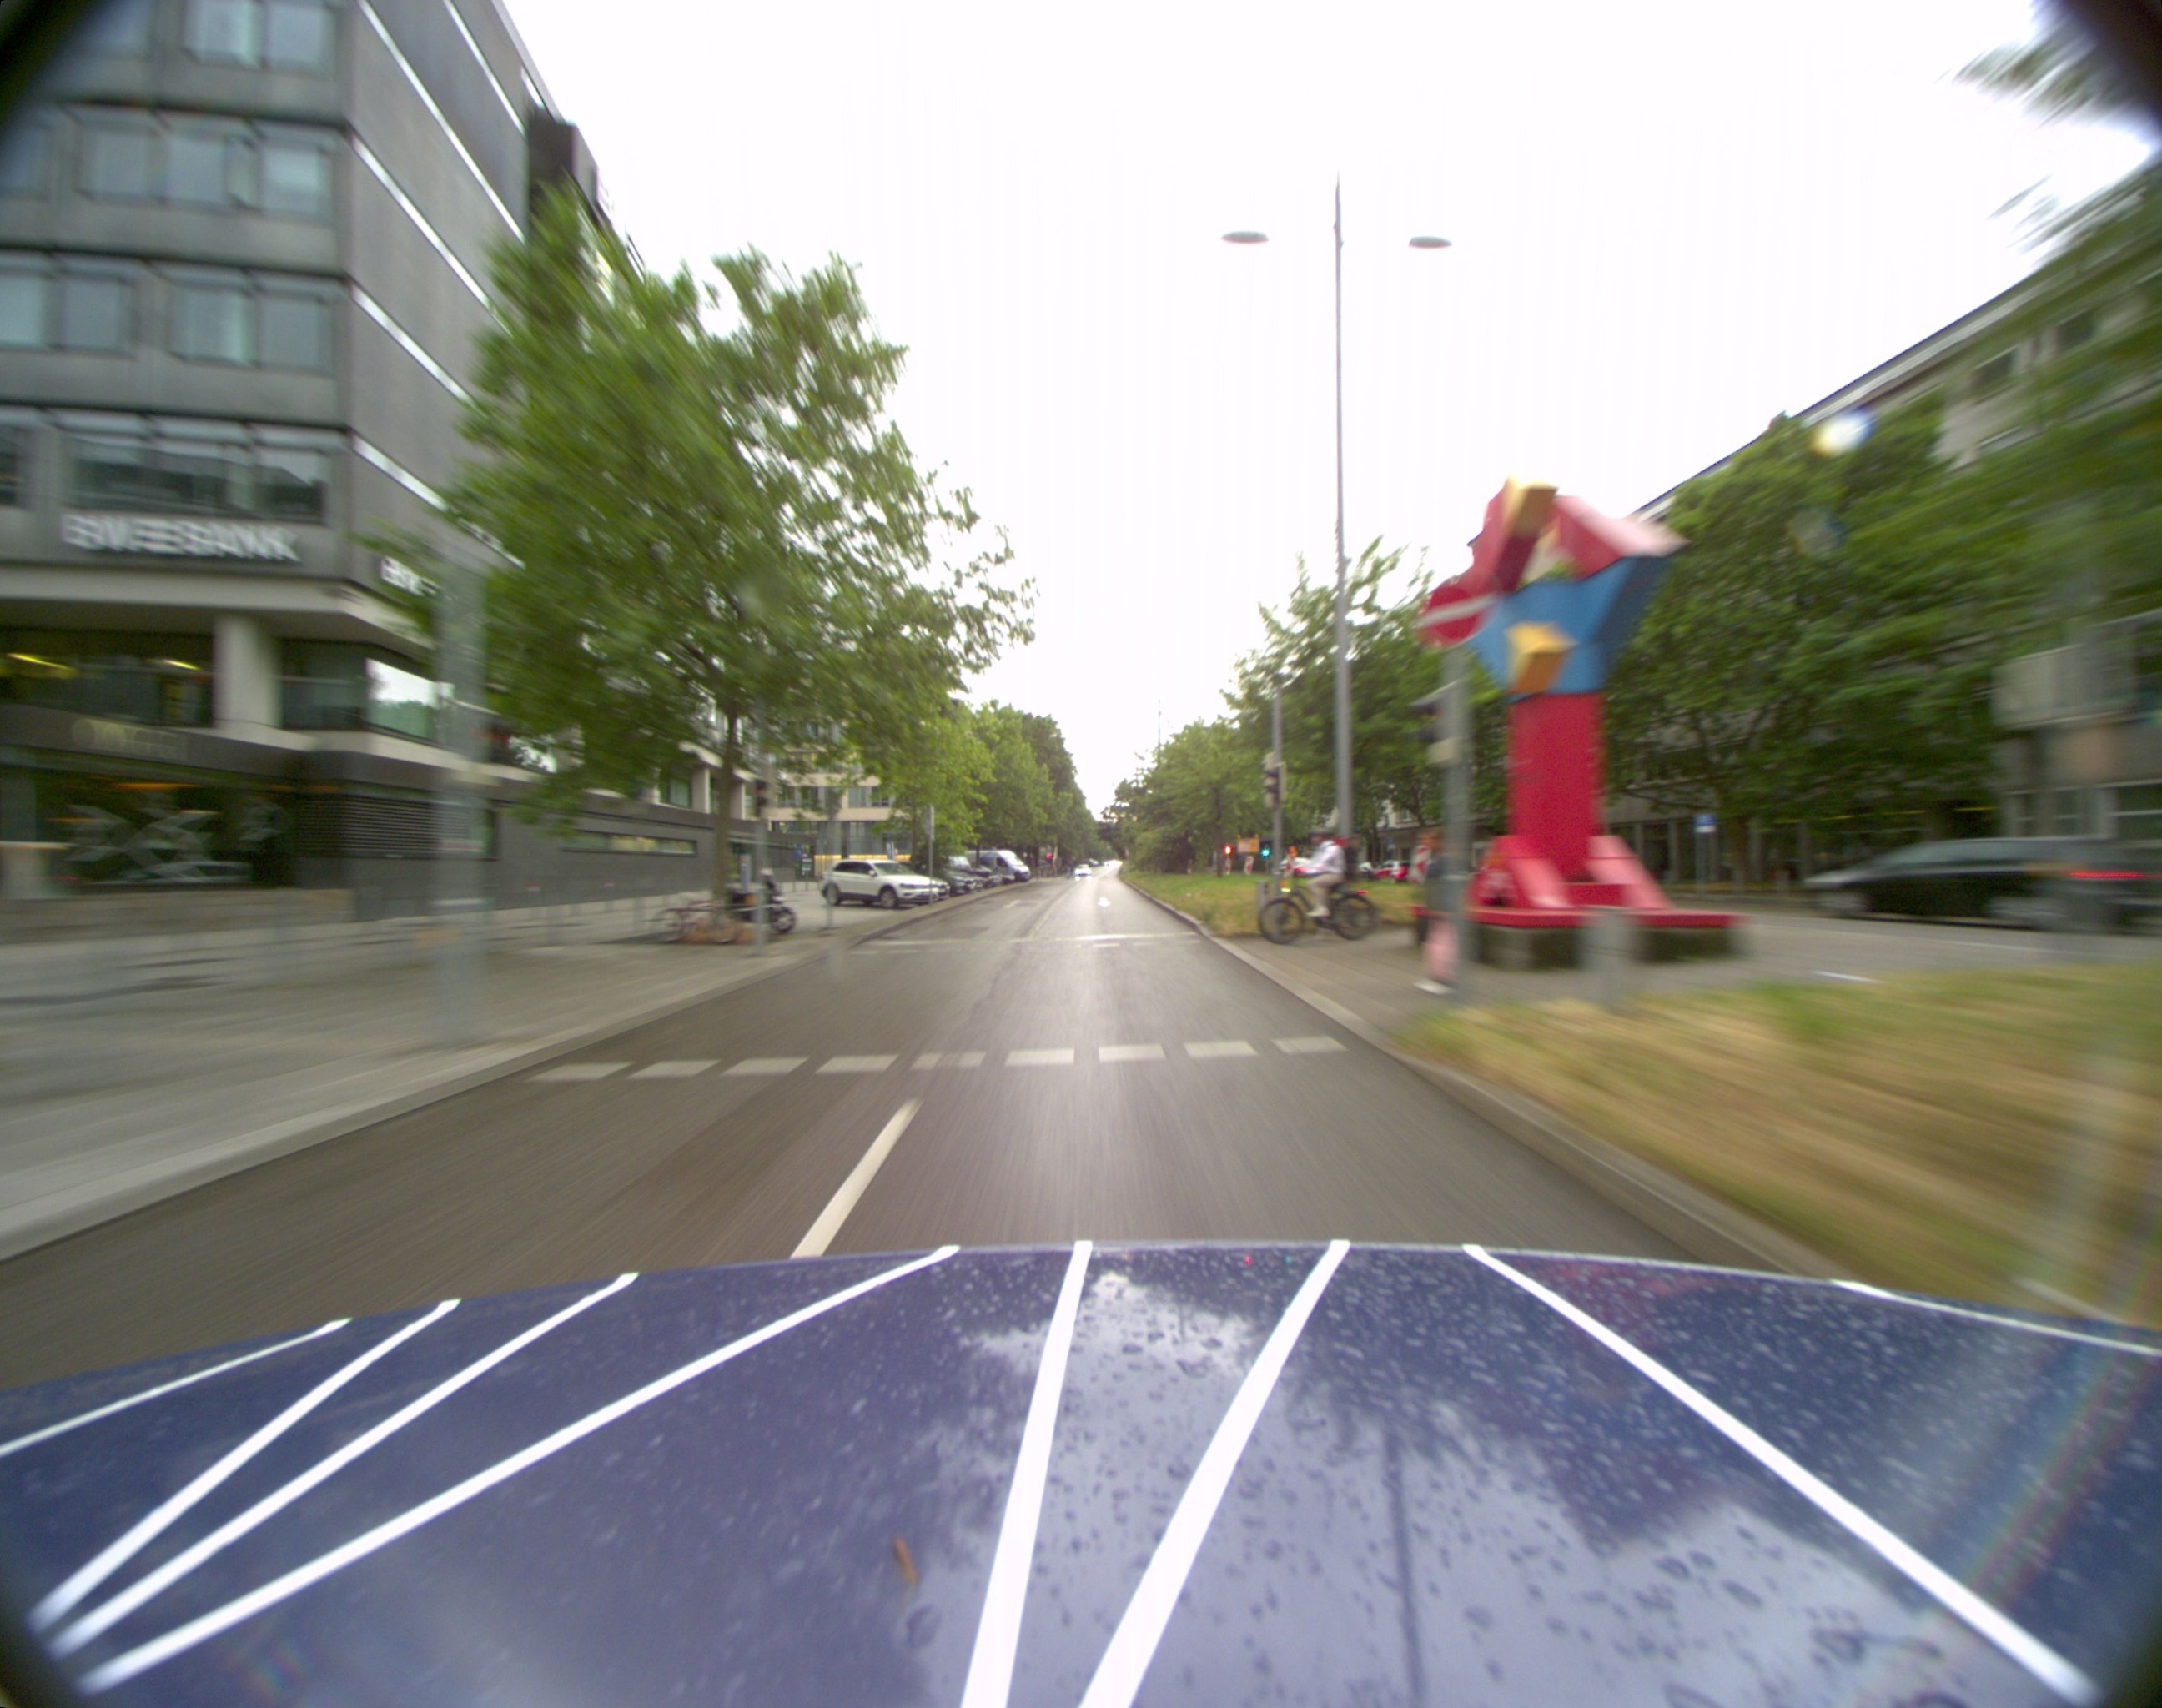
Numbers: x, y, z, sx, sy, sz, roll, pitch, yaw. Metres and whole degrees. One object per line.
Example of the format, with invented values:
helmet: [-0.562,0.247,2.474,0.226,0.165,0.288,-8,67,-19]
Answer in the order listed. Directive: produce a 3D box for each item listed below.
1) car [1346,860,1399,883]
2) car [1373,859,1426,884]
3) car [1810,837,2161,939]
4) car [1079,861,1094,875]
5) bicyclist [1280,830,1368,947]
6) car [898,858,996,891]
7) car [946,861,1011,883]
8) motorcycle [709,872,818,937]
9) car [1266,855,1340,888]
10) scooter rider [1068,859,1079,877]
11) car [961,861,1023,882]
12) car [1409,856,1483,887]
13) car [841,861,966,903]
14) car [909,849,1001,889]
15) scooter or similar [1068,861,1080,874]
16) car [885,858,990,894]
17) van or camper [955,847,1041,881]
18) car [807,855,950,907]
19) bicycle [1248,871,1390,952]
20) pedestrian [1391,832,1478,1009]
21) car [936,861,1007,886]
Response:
car: [19.712,1.146,51.599,1.790,1.478,4.575,0,0,-2]
car: [19.653,1.044,47.041,1.690,1.493,3.692,0,0,-2]
car: [14.950,0.504,12.600,1.794,1.406,3.999,1,0,-2]
car: [0.642,1.814,98.045,1.790,1.736,4.575,0,0,-2]
bicyclist: [3.858,0.531,12.132,1.078,1.739,0.812,-4,2,3]
car: [-6.517,0.994,36.829,4.380,1.528,1.920,-1,0,28]
car: [-6.864,1.208,50.746,4.051,1.415,1.712,-1,0,30]
motorcycle: [-6.875,1.092,16.484,2.087,1.349,0.678,-1,0,8]
car: [10.579,0.821,36.586,1.795,1.458,4.724,1,0,-5]
scooter rider: [-0.762,1.485,80.402,0.980,1.892,1.023,0,0,10]
car: [-6.216,1.222,53.157,4.051,1.415,1.712,-1,0,30]
car: [20.067,0.954,42.043,1.866,1.612,4.467,0,0,-2]
car: [-6.874,1.060,29.236,4.710,1.465,1.920,-1,0,33]
car: [-6.619,0.772,39.713,4.506,1.981,1.926,-1,0,30]
scooter or similar: [-0.758,1.440,80.397,0.980,1.347,1.872,0,0,10]
car: [-6.426,0.987,34.042,4.346,1.528,1.920,-1,0,28]
van or camper: [-6.262,0.781,56.824,6.249,2.432,2.320,-1,0,31]
car: [-6.996,0.899,26.070,4.791,1.640,1.920,-1,0,31]
bicycle: [3.762,0.904,12.137,1.976,1.132,0.777,-4,0,2]
pedestrian: [3.510,0.634,7.589,0.529,1.675,0.721,-1,0,2]
car: [-6.600,1.178,45.803,4.003,1.415,1.712,-1,0,30]
